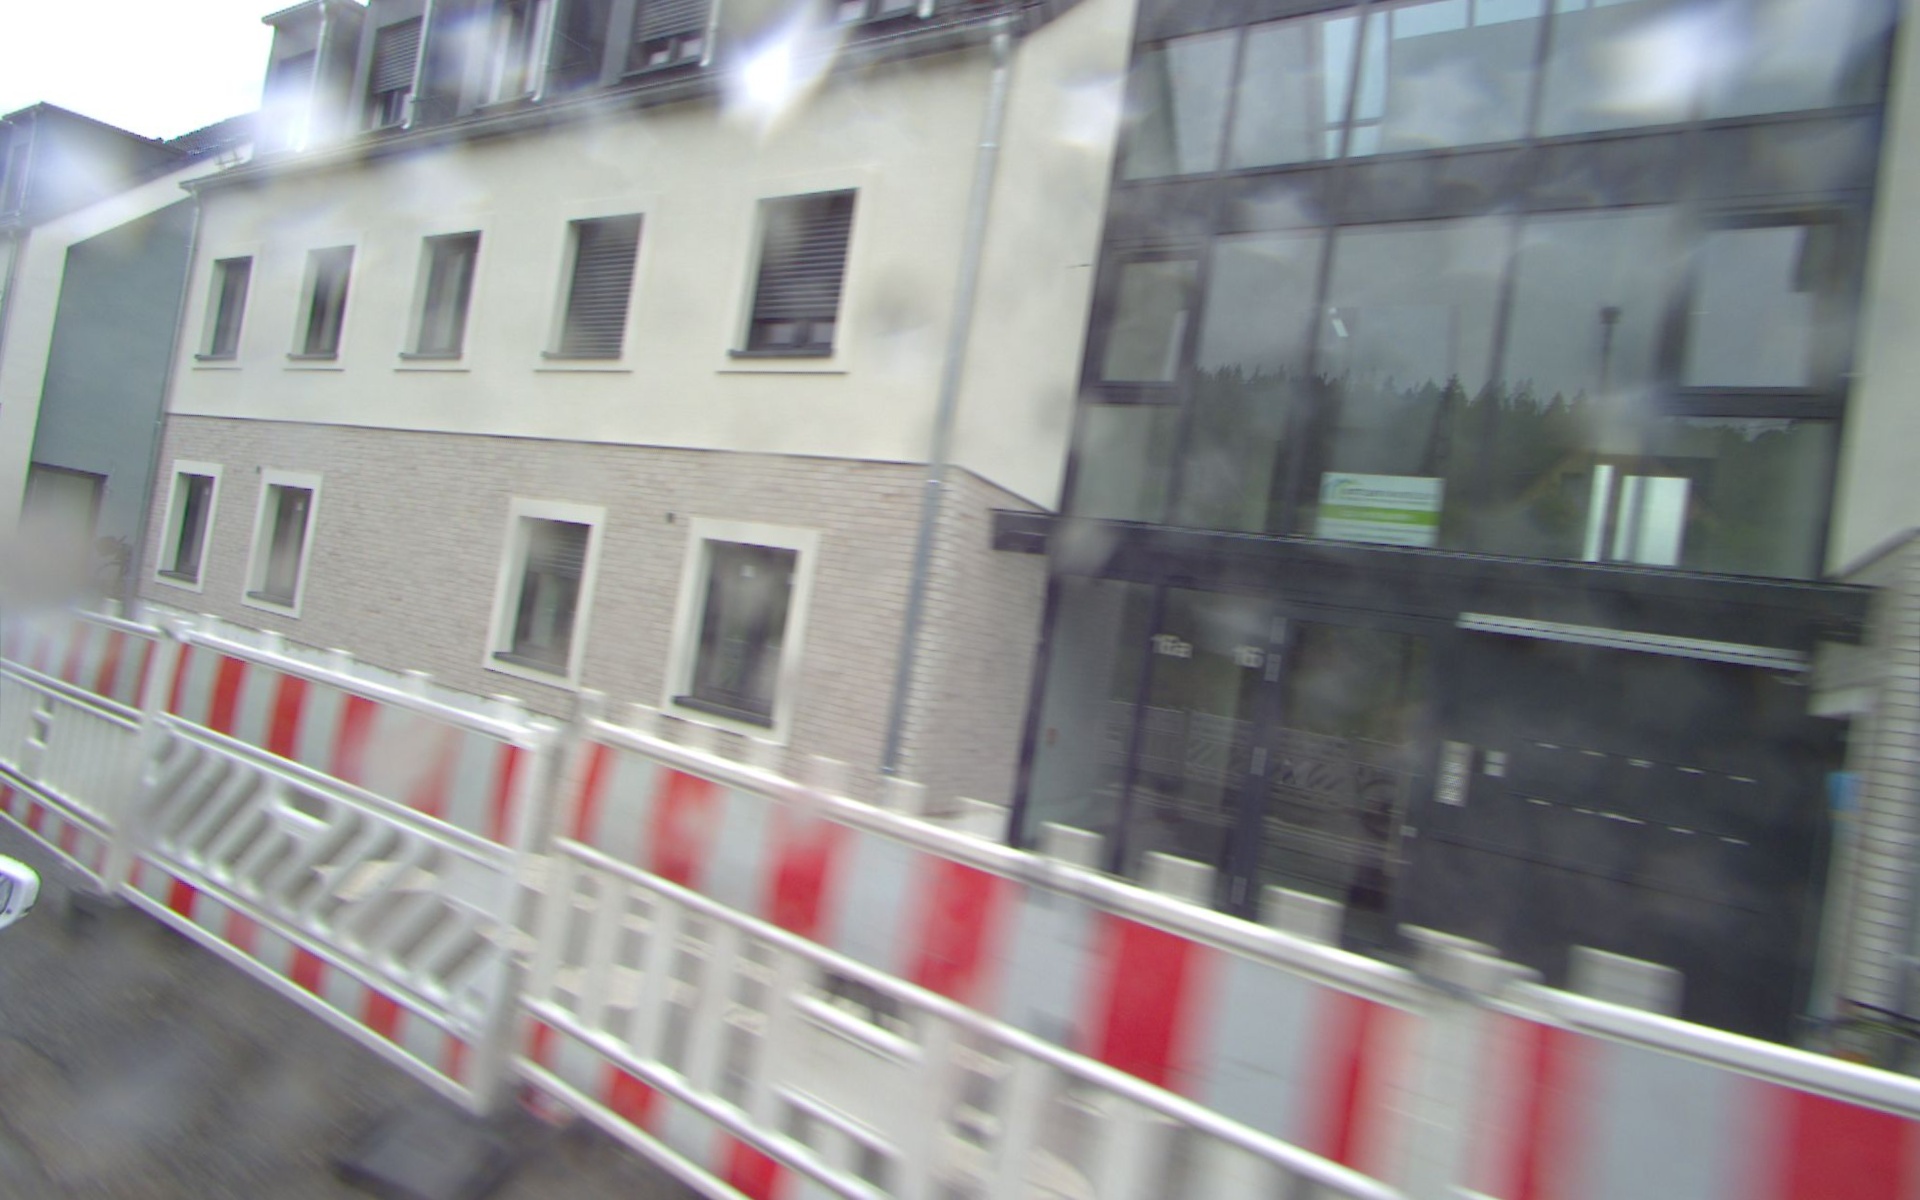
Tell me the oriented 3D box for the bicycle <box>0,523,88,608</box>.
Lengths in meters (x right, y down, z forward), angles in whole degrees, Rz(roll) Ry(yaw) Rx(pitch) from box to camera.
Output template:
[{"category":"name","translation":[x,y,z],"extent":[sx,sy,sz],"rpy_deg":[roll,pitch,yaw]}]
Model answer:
[{"category":"bicycle","translation":[-15.602,-0.600,17.109],"extent":[1.760,1.233,0.519],"rpy_deg":[7,-3,33]}]

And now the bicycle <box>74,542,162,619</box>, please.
[{"category":"bicycle","translation":[-14.531,-0.349,17.345],"extent":[1.760,1.114,0.519],"rpy_deg":[7,-3,33]}]

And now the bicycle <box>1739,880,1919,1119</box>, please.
[{"category":"bicycle","translation":[4.173,1.693,3.884],"extent":[1.709,0.706,0.496],"rpy_deg":[7,3,28]}]
